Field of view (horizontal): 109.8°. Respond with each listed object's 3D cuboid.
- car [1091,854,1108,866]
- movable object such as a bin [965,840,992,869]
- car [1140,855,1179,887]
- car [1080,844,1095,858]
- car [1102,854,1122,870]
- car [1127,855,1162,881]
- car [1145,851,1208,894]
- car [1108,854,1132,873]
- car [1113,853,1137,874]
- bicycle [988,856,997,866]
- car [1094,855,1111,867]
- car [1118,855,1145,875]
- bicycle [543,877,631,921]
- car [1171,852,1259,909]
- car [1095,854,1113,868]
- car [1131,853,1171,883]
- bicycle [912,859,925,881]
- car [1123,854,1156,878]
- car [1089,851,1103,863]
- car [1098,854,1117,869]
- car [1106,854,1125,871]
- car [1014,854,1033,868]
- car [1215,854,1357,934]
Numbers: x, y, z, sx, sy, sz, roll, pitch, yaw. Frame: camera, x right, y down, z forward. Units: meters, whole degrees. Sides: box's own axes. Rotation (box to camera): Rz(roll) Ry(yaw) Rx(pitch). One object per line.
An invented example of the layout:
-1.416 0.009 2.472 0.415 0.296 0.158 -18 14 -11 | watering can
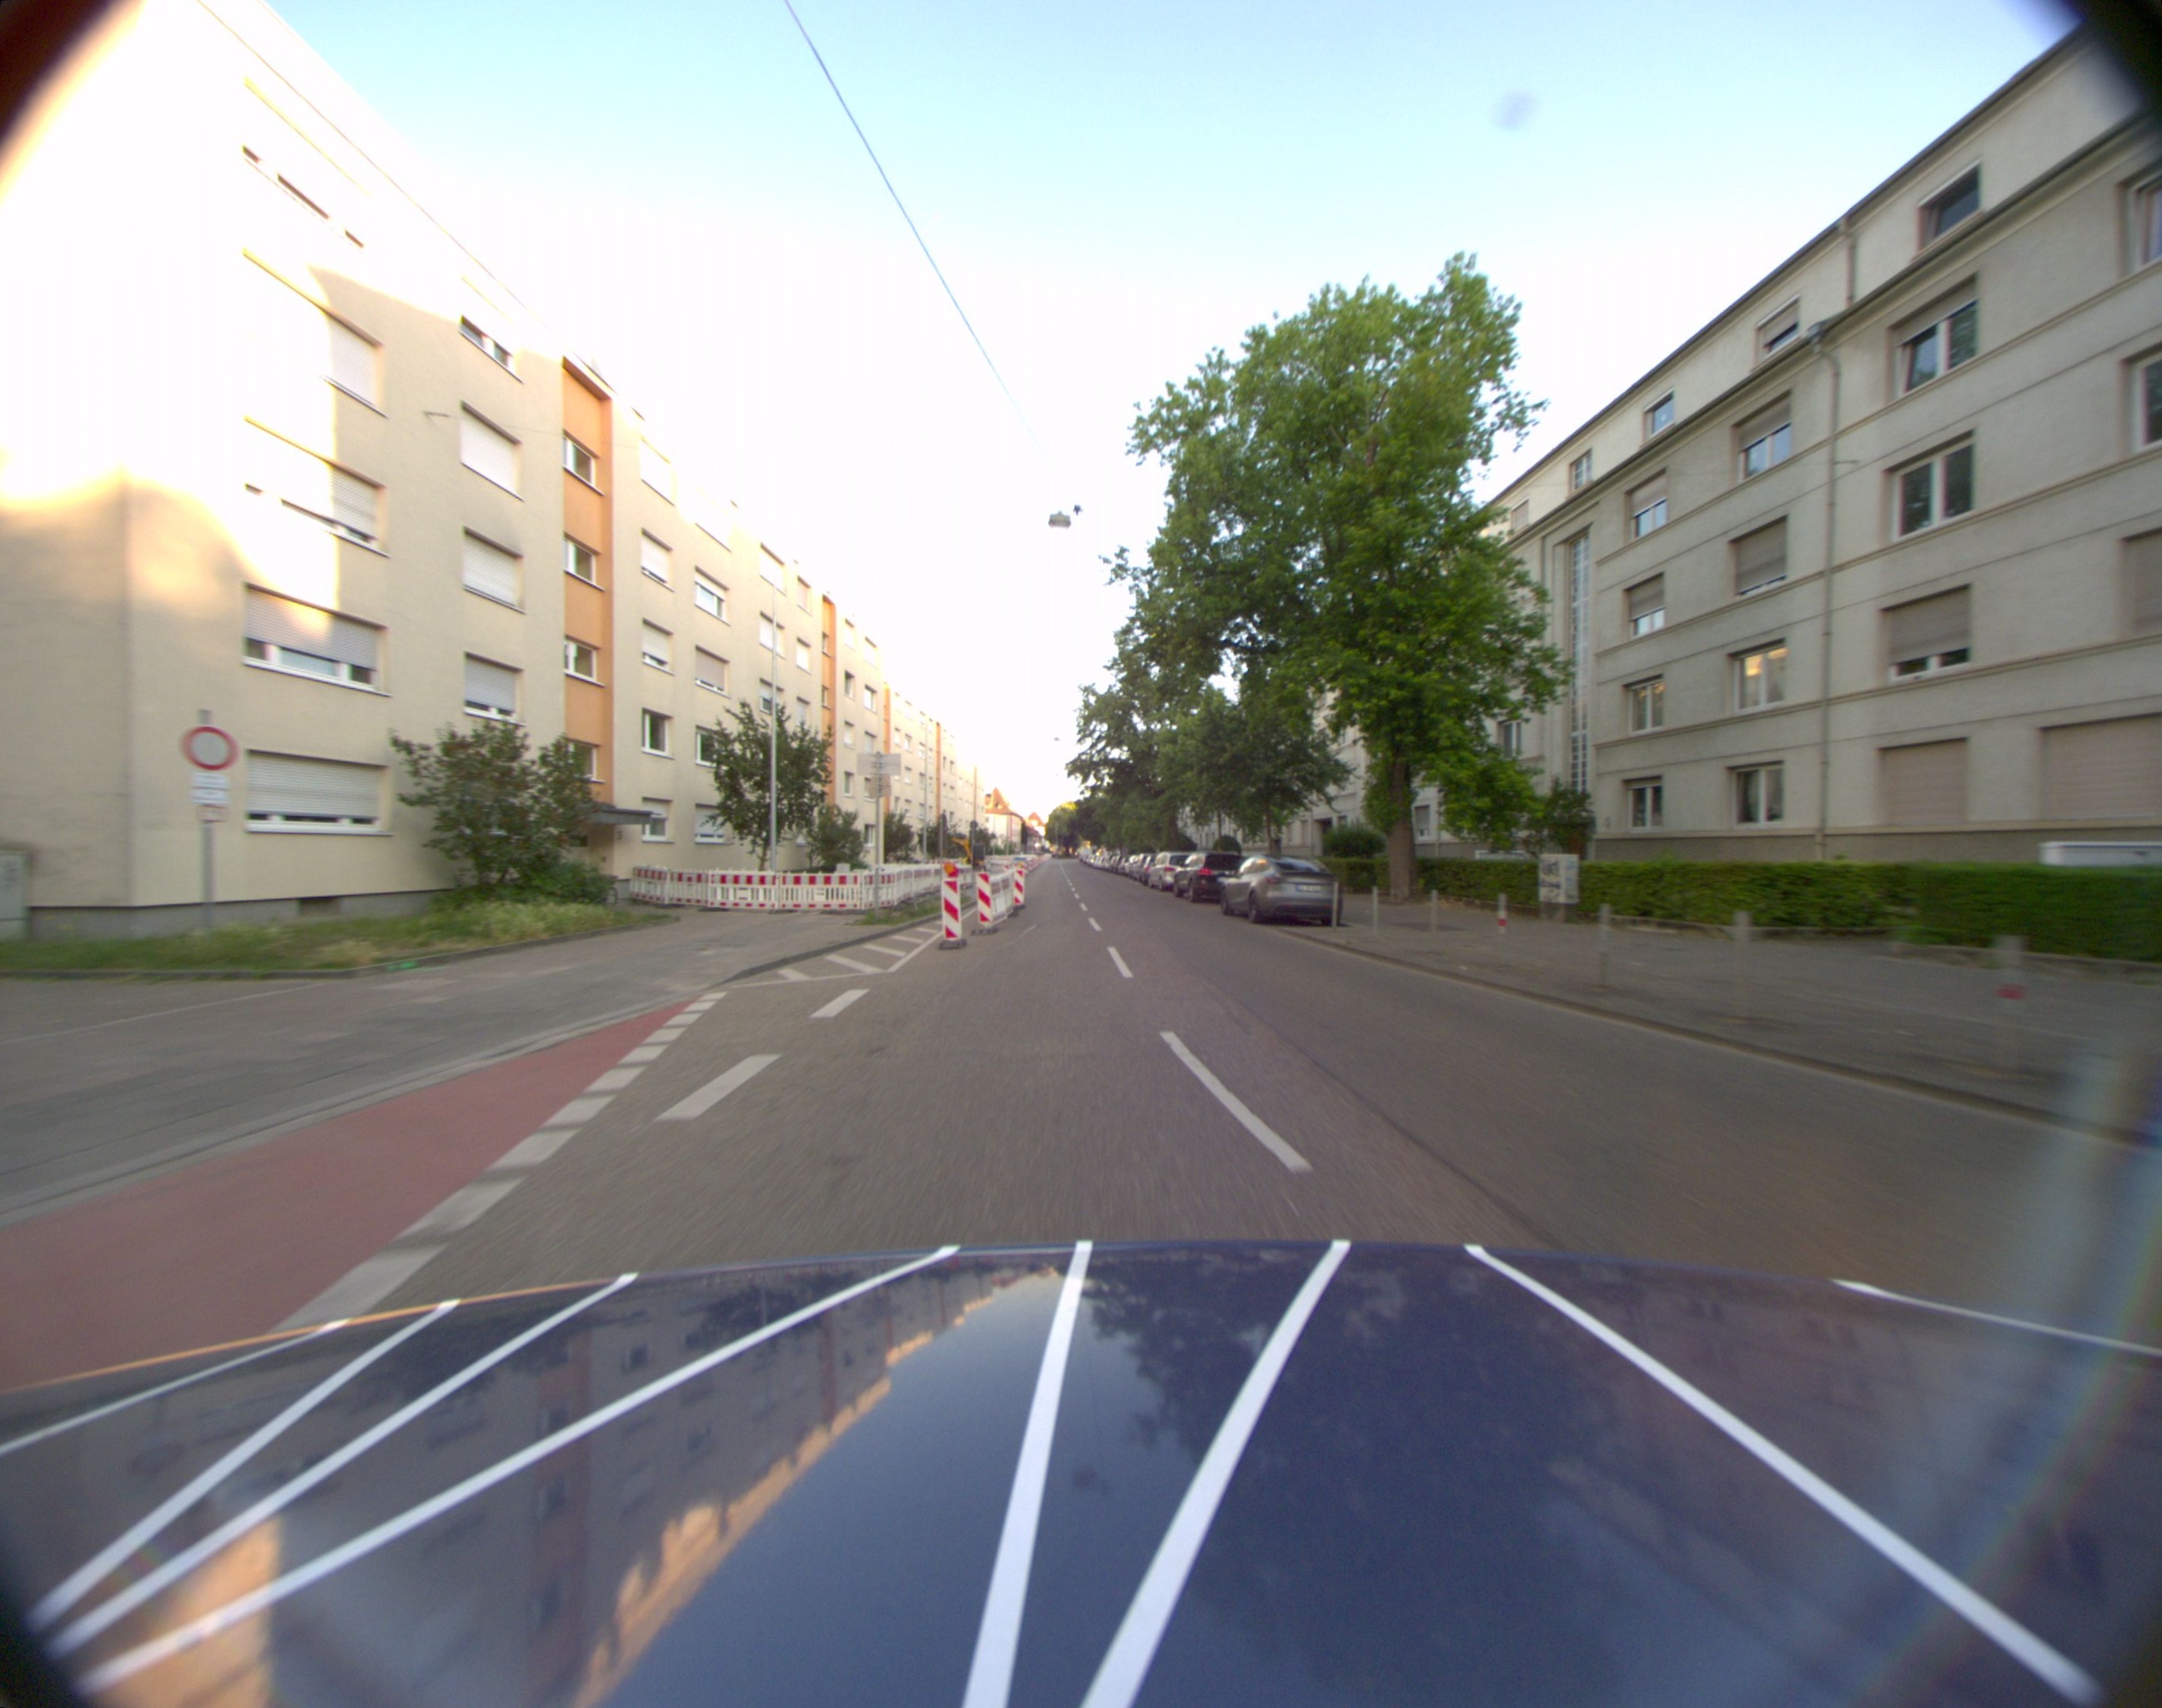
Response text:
2.333 0.768 96.482 1.679 1.451 3.703 3 0 -4 | car
-9.479 0.045 70.478 1.938 2.677 2.892 0 1 3 | movable object such as a bin
3.981 0.839 39.096 1.736 1.488 4.271 2 0 2 | car
1.152 -0.568 136.031 2.185 2.447 6.101 3 0 -2 | car
3.091 0.770 75.517 1.594 1.496 3.798 3 0 -2 | car
4.005 0.862 48.552 1.712 1.443 3.842 3 0 -1 | car
4.125 0.758 33.728 1.852 1.681 4.857 2 0 -4 | car
3.409 0.809 66.762 1.594 1.458 4.100 3 0 -4 | car
3.577 0.761 62.492 1.527 1.520 3.163 3 0 -3 | car
-9.818 0.764 84.660 0.558 1.165 1.813 -1 1 -21 | bicycle
2.560 0.820 91.696 1.679 1.324 4.578 3 0 -3 | car
3.811 0.834 58.213 1.594 1.396 4.180 3 0 -2 | car
-12.001 1.068 18.535 0.544 0.962 1.817 0 0 22 | bicycle
4.472 0.820 26.201 1.959 1.709 4.769 2 0 -3 | car
2.591 0.766 86.655 1.697 1.451 4.143 3 0 -4 | car
4.005 0.776 43.998 1.712 1.591 4.115 3 0 -2 | car
-9.320 0.897 43.738 0.453 1.215 1.910 0 0 -4 | bicycle
4.028 0.804 52.948 1.595 1.530 4.204 3 0 -4 | car
2.046 0.409 106.860 1.757 1.471 3.943 3 0 0 | car
2.826 0.781 81.912 1.697 1.451 4.482 3 0 -2 | car
3.219 0.765 71.342 1.594 1.520 2.921 3 0 0 | car
-6.746 0.776 89.345 1.781 1.482 4.572 4 0 -1 | car
4.711 0.847 18.266 1.959 1.607 4.603 2 0 -2 | car
